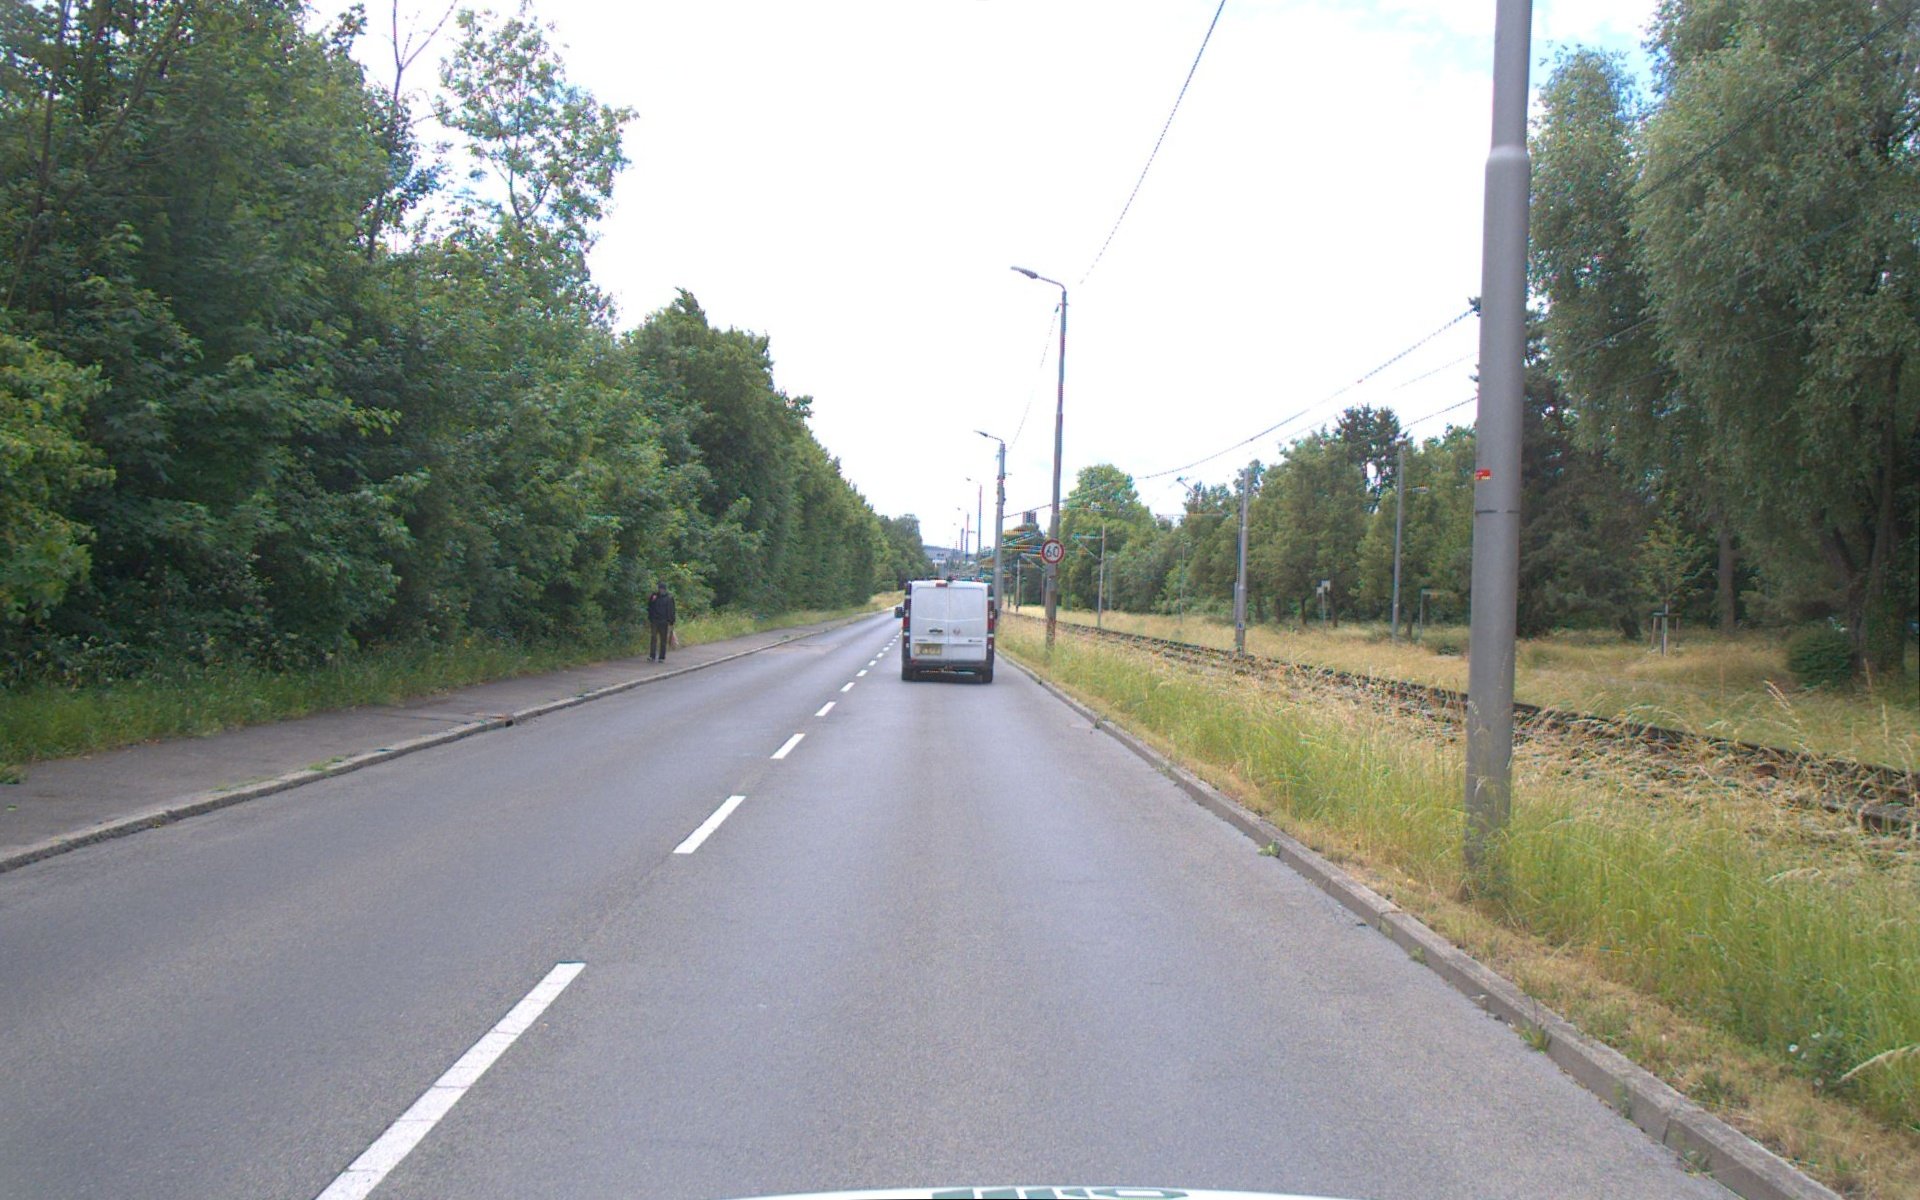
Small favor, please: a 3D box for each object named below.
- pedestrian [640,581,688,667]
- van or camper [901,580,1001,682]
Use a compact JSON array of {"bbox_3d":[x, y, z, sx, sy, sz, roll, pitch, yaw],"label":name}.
[{"bbox_3d":[-6.428,0.509,35.969,0.851,1.800,0.789,3,0,-5],"label":"pedestrian"},{"bbox_3d":[-0.215,0.613,33.755,1.902,1.930,4.283,0,0,-1],"label":"van or camper"}]
